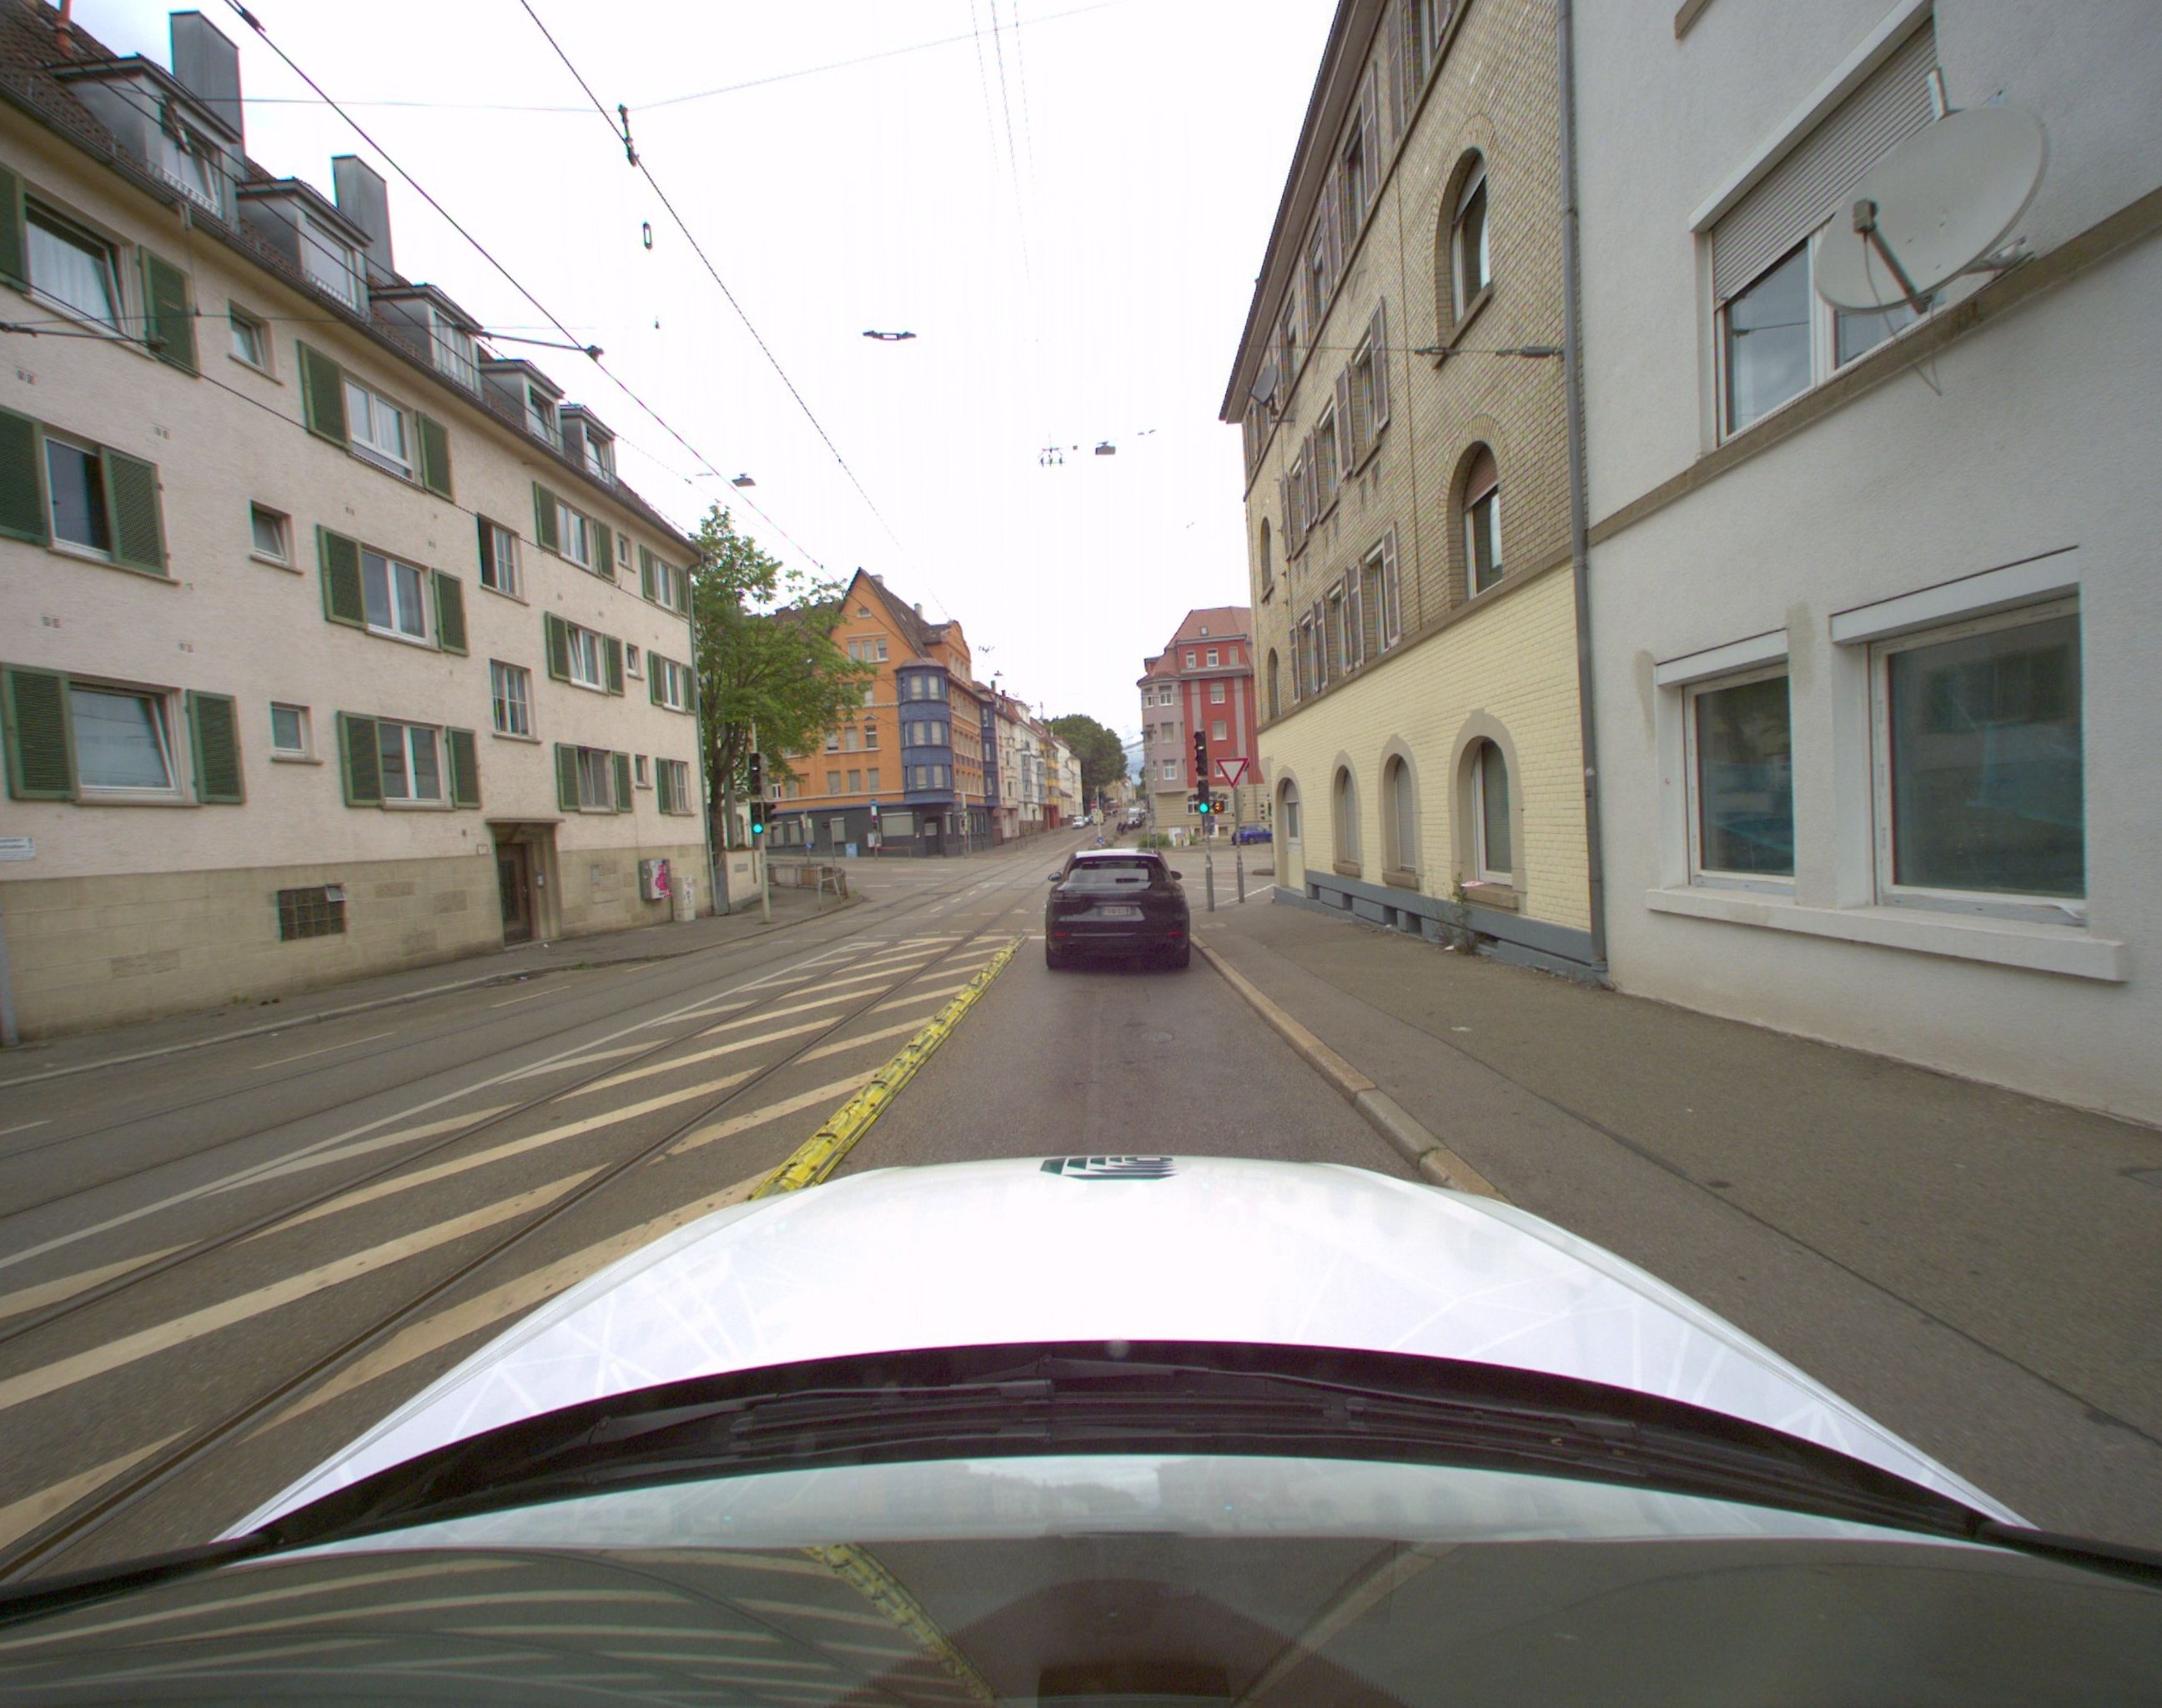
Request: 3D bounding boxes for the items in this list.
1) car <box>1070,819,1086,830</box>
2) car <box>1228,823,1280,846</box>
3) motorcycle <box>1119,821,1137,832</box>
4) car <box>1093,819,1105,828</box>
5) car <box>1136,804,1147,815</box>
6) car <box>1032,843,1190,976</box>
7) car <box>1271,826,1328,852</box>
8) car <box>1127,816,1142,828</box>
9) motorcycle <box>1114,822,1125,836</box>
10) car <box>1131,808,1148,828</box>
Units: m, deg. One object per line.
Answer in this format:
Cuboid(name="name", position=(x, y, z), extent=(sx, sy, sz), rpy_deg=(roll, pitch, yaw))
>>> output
Cuboid(name="car", position=(-0.396, -4.571, 126.637), extent=(1.983, 1.692, 4.009), rpy_deg=(-1, 3, 6))
Cuboid(name="car", position=(13.734, -1.569, 64.590), extent=(4.163, 1.534, 1.896), rpy_deg=(-6, 5, -40))
Cuboid(name="motorcycle", position=(5.852, -3.406, 101.322), extent=(2.173, 1.326, 0.699), rpy_deg=(-1, 2, -5))
Cuboid(name="car", position=(3.063, -5.083, 135.932), extent=(1.677, 1.326, 3.670), rpy_deg=(-1, 3, 6))
Cuboid(name="car", position=(13.455, -9.850, 180.745), extent=(2.255, 2.183, 4.779), rpy_deg=(-1, 3, 6))
Cuboid(name="car", position=(0.627, 0.676, 12.580), extent=(2.013, 1.641, 4.365), rpy_deg=(0, 1, 7))
Cuboid(name="car", position=(15.273, -1.093, 56.880), extent=(4.165, 1.534, 1.895), rpy_deg=(-6, 6, -43))
Cuboid(name="car", position=(7.527, -4.545, 114.513), extent=(1.831, 1.568, 3.827), rpy_deg=(-1, 3, 6))
Cuboid(name="motorcycle", position=(4.305, -2.801, 90.822), extent=(0.858, 1.326, 2.182), rpy_deg=(-8, 3, -3))
Cuboid(name="car", position=(8.614, -5.347, 120.538), extent=(2.255, 2.889, 4.779), rpy_deg=(-1, 3, 6))
